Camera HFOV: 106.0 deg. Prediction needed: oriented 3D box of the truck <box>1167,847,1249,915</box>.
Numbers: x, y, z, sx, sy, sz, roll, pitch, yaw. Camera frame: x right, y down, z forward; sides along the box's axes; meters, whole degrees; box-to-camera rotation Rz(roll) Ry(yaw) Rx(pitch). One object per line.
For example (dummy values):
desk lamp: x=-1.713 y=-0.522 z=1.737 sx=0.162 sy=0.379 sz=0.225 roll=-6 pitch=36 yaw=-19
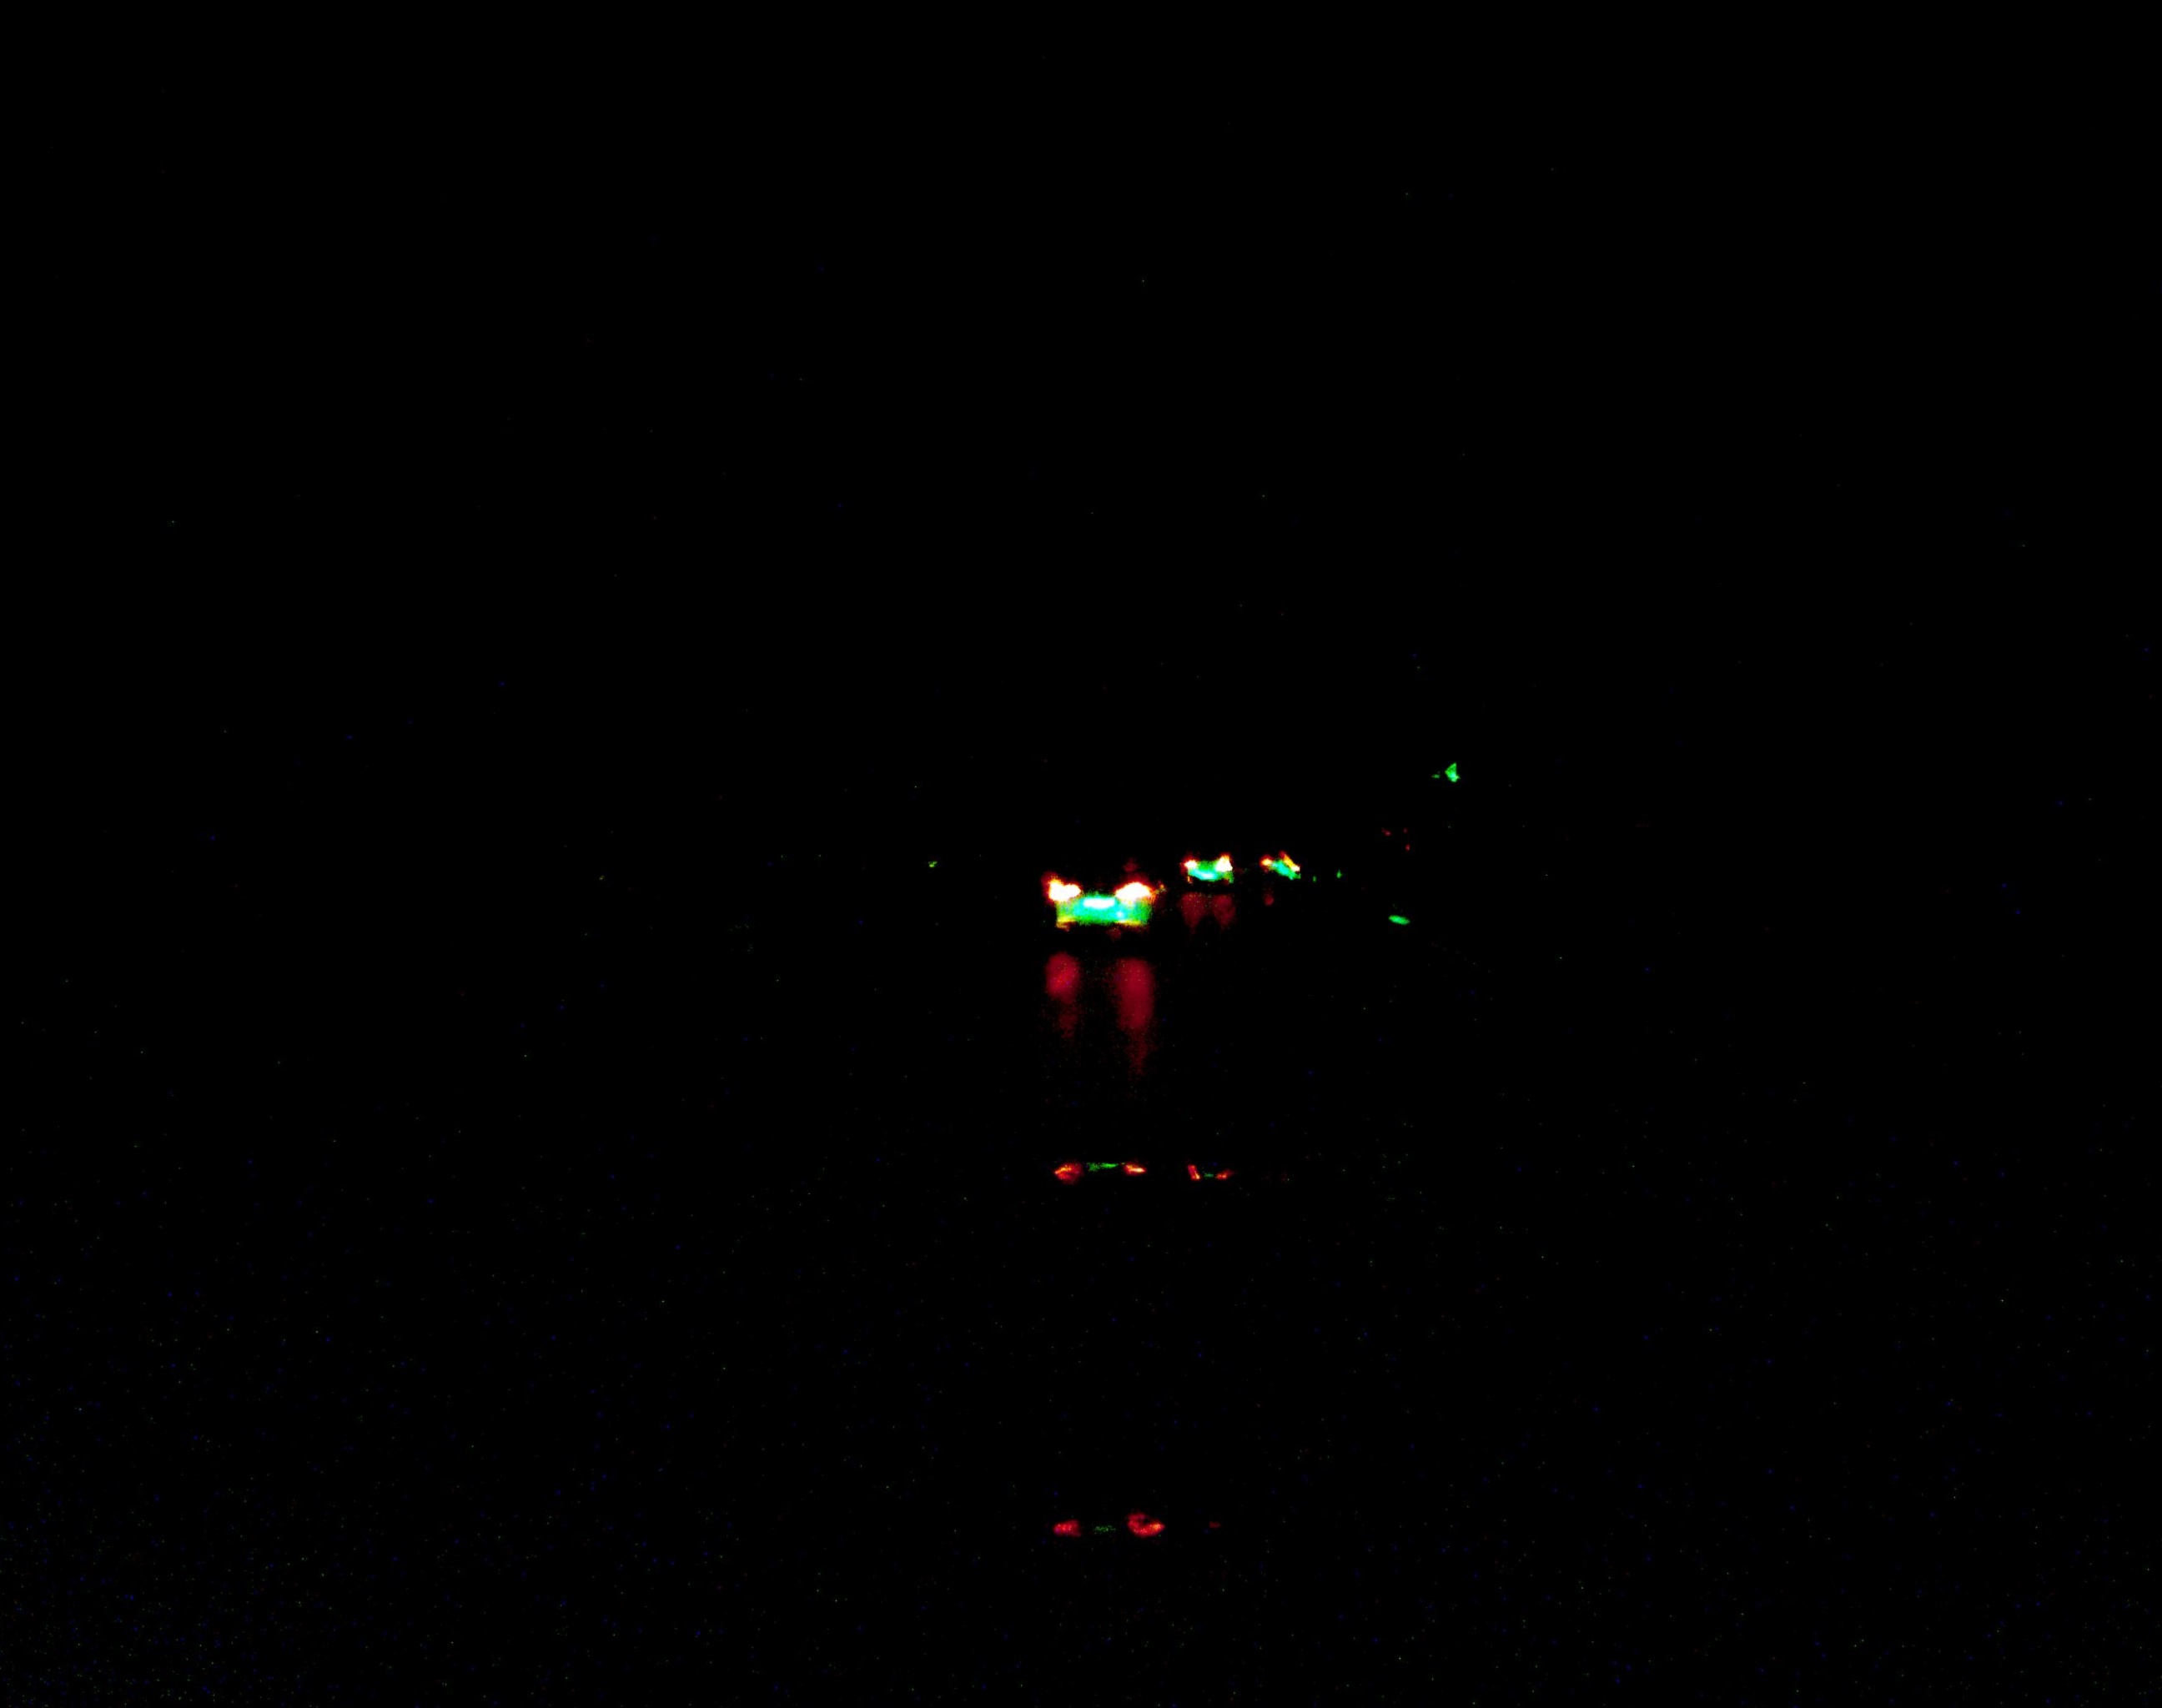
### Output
truck: x=5.299 y=1.054 z=34.477 sx=3.052 sy=2.528 sz=7.182 roll=-1 pitch=0 yaw=8

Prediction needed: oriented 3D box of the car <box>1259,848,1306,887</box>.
car: x=10.859 y=0.708 z=43.755 sx=1.820 sy=1.948 sz=4.021 roll=-1 pitch=-1 yaw=22

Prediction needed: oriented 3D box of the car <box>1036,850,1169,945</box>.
car: x=0.544 y=0.730 z=15.267 sx=1.933 sy=1.491 sz=3.725 roll=-3 pitch=-1 yaw=9
